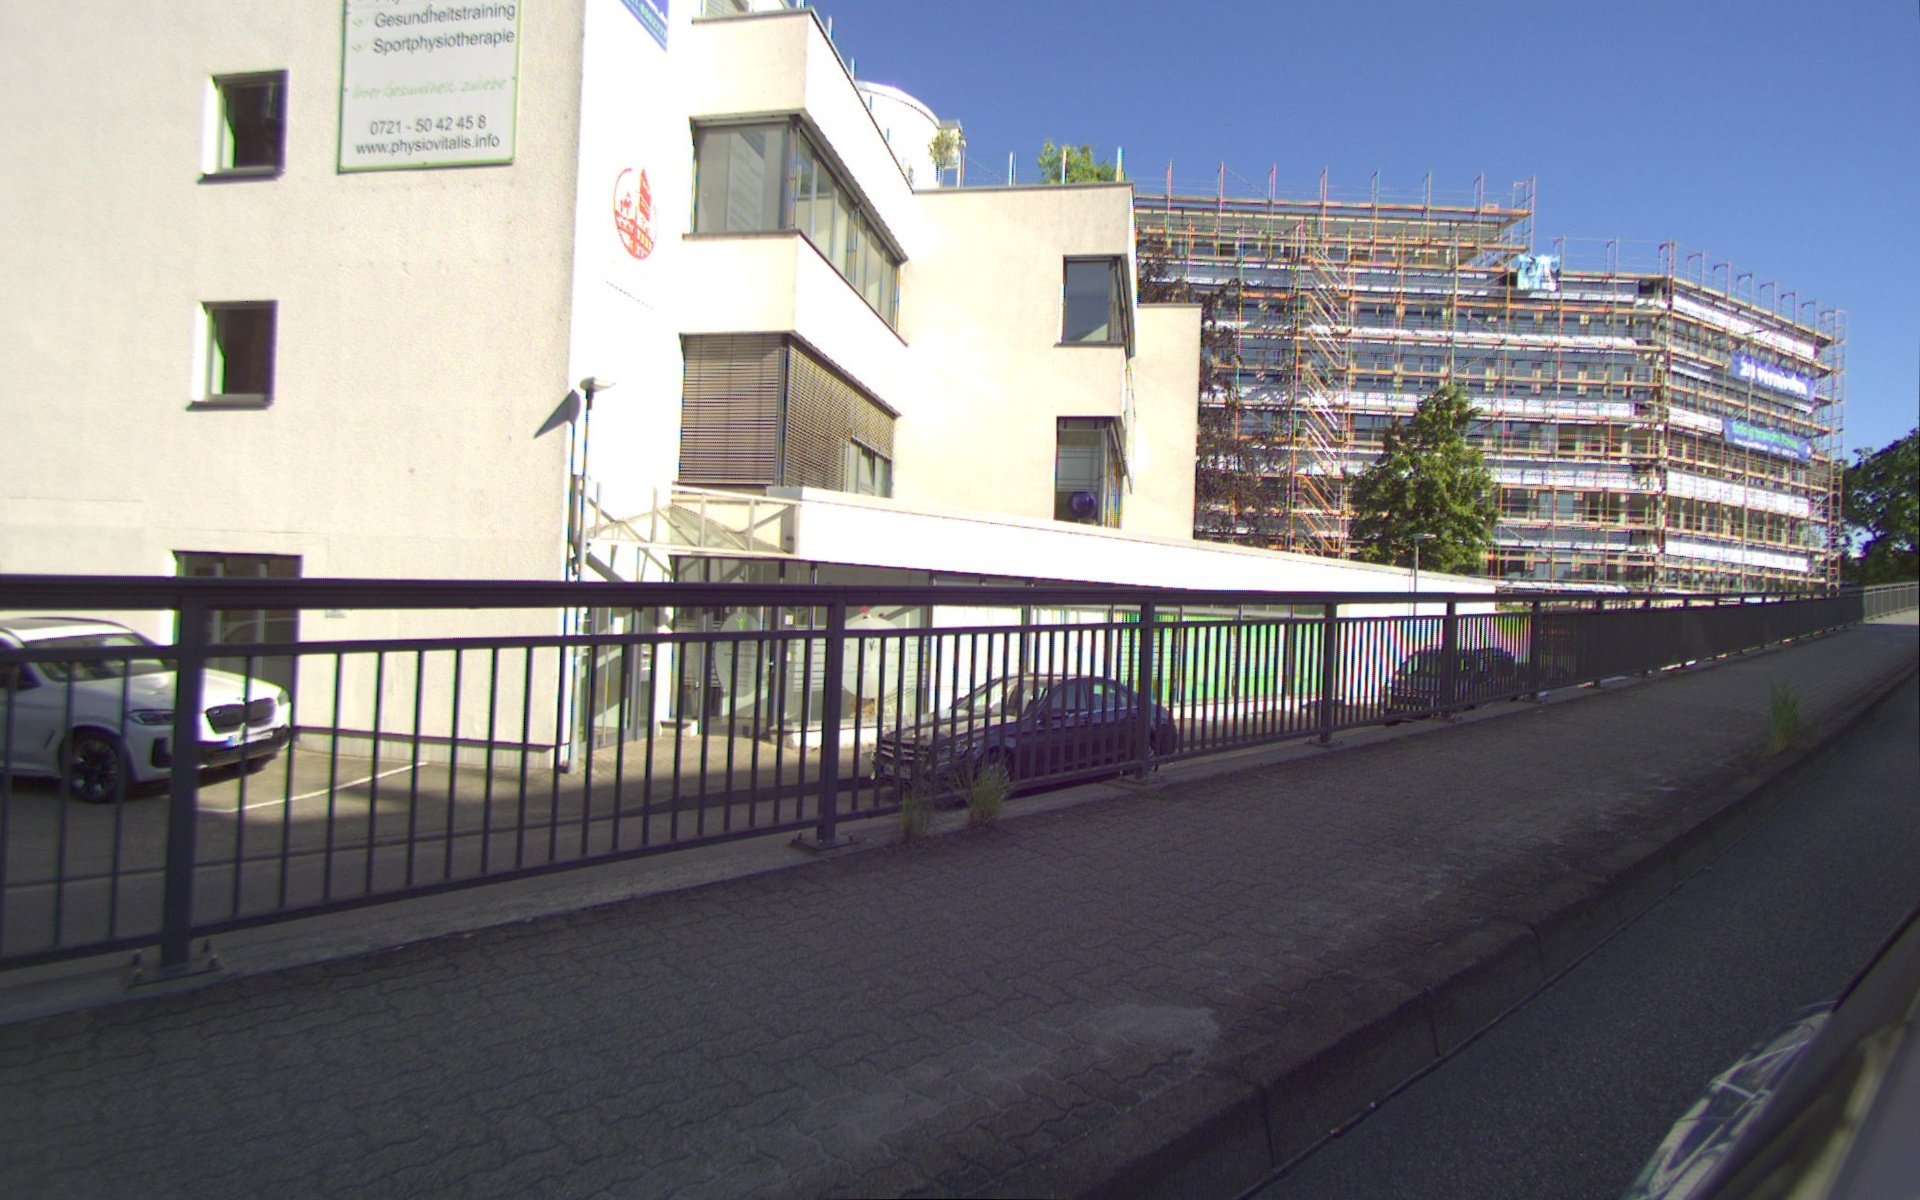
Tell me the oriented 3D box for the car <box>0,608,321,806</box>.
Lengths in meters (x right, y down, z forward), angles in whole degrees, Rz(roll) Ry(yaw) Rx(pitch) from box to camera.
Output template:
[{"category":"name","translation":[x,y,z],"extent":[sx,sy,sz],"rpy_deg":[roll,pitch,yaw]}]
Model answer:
[{"category":"car","translation":[-9.556,1.018,10.841],"extent":[4.455,1.707,1.840],"rpy_deg":[2,0,9]}]

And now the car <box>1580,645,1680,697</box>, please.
[{"category":"car","translation":[21.087,2.171,31.797],"extent":[3.931,1.410,1.723],"rpy_deg":[1,-1,-42]}]

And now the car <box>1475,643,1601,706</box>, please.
[{"category":"car","translation":[14.981,1.865,26.157],"extent":[3.931,1.410,1.723],"rpy_deg":[1,-1,-42]}]

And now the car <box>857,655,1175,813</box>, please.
[{"category":"car","translation":[0.810,1.544,12.806],"extent":[3.929,1.541,1.724],"rpy_deg":[1,-1,-41]}]

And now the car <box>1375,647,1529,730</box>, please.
[{"category":"car","translation":[10.859,1.859,22.226],"extent":[3.931,1.541,1.723],"rpy_deg":[1,-1,-42]}]
